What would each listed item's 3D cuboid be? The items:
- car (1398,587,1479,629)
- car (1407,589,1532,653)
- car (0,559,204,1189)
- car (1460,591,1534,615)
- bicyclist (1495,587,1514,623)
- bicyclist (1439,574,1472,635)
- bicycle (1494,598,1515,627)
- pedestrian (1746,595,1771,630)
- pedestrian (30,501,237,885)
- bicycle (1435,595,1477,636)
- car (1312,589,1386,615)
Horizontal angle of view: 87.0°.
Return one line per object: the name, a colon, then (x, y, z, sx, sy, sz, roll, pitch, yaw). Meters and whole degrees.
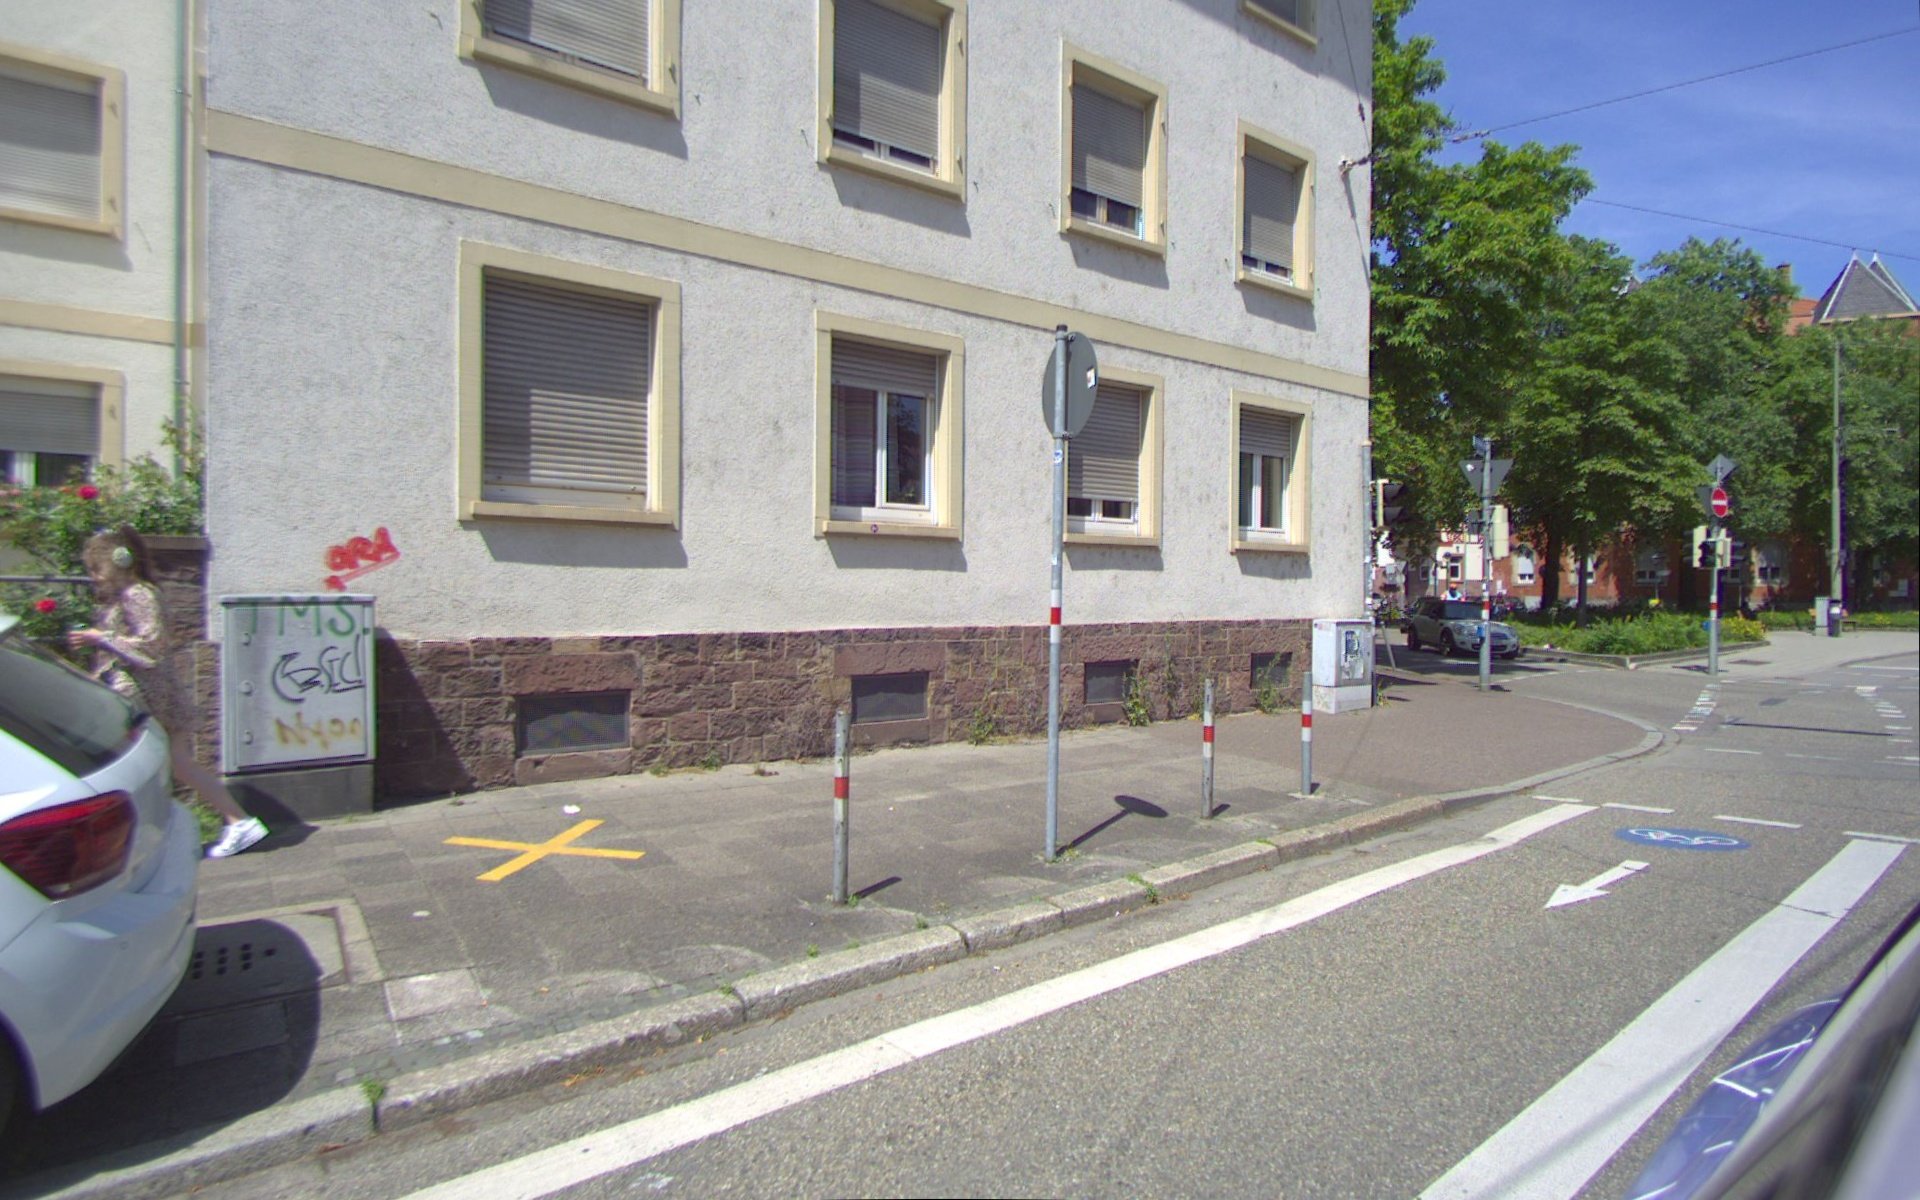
car: (18.983, 0.299, 40.088, 3.999, 1.583, 1.610, 0, 0, -44)
car: (13.104, 0.494, 26.258, 1.666, 1.464, 3.620, 2, 0, 6)
car: (-4.118, 0.646, 2.102, 4.080, 1.427, 1.783, 0, 5, -38)
car: (34.250, 0.196, 64.699, 1.610, 1.470, 4.328, 0, 0, -17)
bicyclist: (24.664, 0.215, 45.850, 0.636, 1.644, 0.852, 0, 0, 35)
bicyclist: (14.857, 0.133, 30.367, 0.688, 1.789, 0.862, 0, 0, 11)
bicycle: (24.655, 0.555, 45.835, 0.636, 1.309, 1.907, 0, 0, 35)
pedestrian: (26.788, 0.405, 33.961, 0.649, 1.165, 0.634, 0, 0, 38)
pedestrian: (-4.012, 0.406, 4.962, 0.742, 1.691, 0.699, 0, 0, -38)
bicycle: (14.856, 0.443, 30.337, 0.670, 1.169, 1.798, 0, 0, 11)
car: (24.673, 0.135, 64.155, 4.228, 1.583, 1.648, 0, 0, -16)
